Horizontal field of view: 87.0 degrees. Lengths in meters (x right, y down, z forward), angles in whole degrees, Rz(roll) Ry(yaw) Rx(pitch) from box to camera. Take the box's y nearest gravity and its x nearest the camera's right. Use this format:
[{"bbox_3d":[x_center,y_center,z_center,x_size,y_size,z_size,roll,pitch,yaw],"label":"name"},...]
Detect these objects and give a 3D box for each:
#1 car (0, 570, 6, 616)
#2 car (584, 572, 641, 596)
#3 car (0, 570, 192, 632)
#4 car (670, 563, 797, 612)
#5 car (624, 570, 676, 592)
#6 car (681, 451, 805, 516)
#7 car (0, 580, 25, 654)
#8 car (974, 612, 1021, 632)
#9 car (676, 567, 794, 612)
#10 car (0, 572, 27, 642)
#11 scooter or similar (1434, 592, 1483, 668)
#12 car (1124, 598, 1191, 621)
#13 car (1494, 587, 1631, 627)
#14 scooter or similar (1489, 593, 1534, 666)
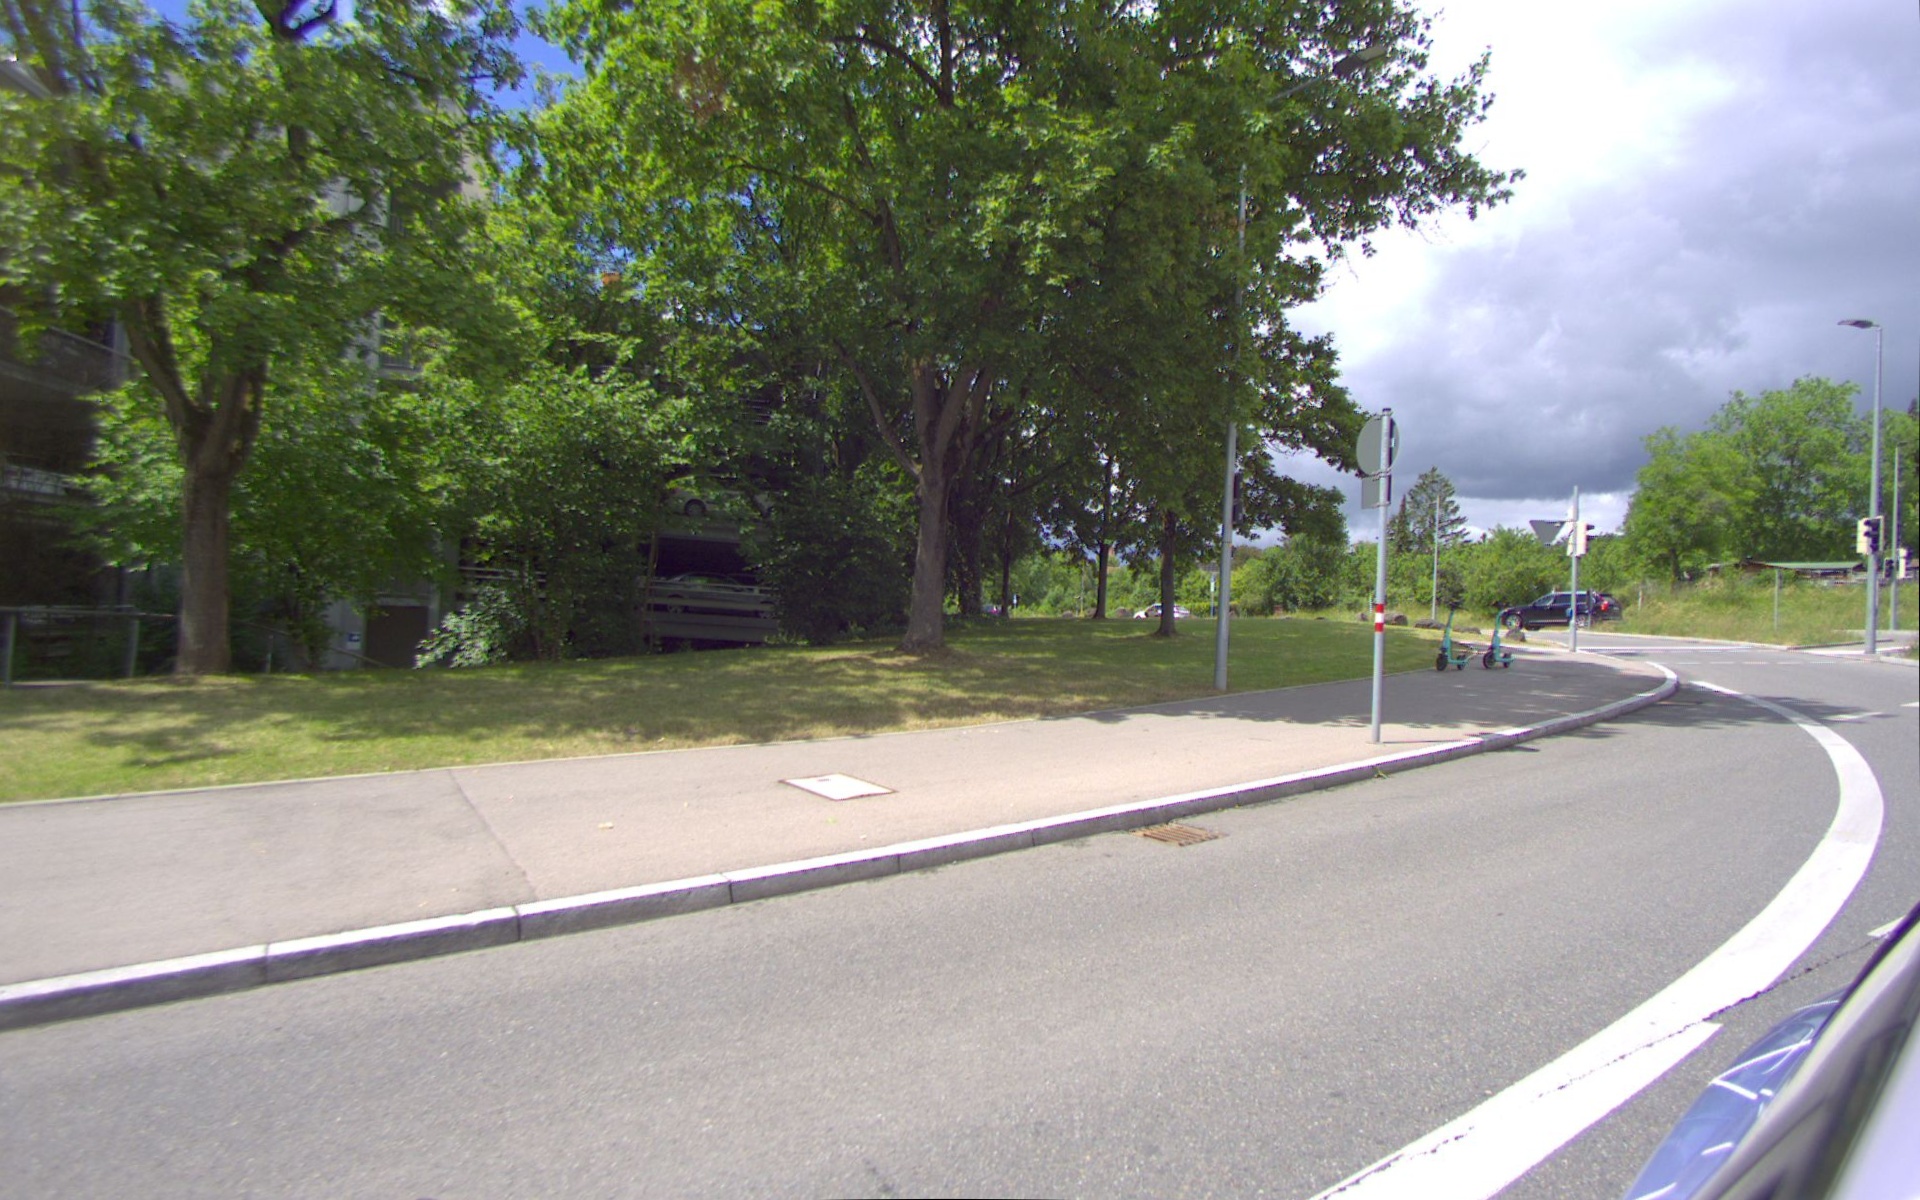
[{"bbox_3d":[-34.332,-0.239,33.394,3.808,1.560,1.760,0,0,-10],"label":"car"},{"bbox_3d":[-26.297,-1.195,76.679,3.778,1.505,1.756,4,-2,-9],"label":"car"},{"bbox_3d":[-22.287,0.023,26.150,3.548,1.543,1.636,0,0,-10],"label":"car"},{"bbox_3d":[-7.018,-0.355,31.601,3.720,1.309,1.779,2,-2,-9],"label":"car"},{"bbox_3d":[-25.290,-1.524,82.728,3.778,1.461,1.756,4,-2,-9],"label":"car"},{"bbox_3d":[-6.690,-3.596,31.545,3.627,1.562,1.729,2,-4,-8],"label":"car"},{"bbox_3d":[-21.156,0.260,19.848,3.720,1.491,1.779,2,-2,-9],"label":"car"},{"bbox_3d":[3.059,1.782,83.110,1.755,1.598,4.167,2,-1,-32],"label":"car"},{"bbox_3d":[-7.455,-0.318,33.799,3.720,1.309,1.779,2,-2,-9],"label":"car"},{"bbox_3d":[-22.727,0.157,21.787,3.548,1.543,1.636,0,0,-10],"label":"car"},{"bbox_3d":[8.836,0.504,17.911,0.531,1.280,1.174,2,1,37],"label":"scooter or similar"},{"bbox_3d":[13.072,0.606,67.169,1.592,1.488,4.375,-1,0,-37],"label":"car"},{"bbox_3d":[27.032,0.298,45.608,1.875,1.711,4.981,-1,0,-35],"label":"car"},{"bbox_3d":[10.119,0.515,18.562,0.531,1.280,1.174,2,1,37],"label":"scooter or similar"}]
